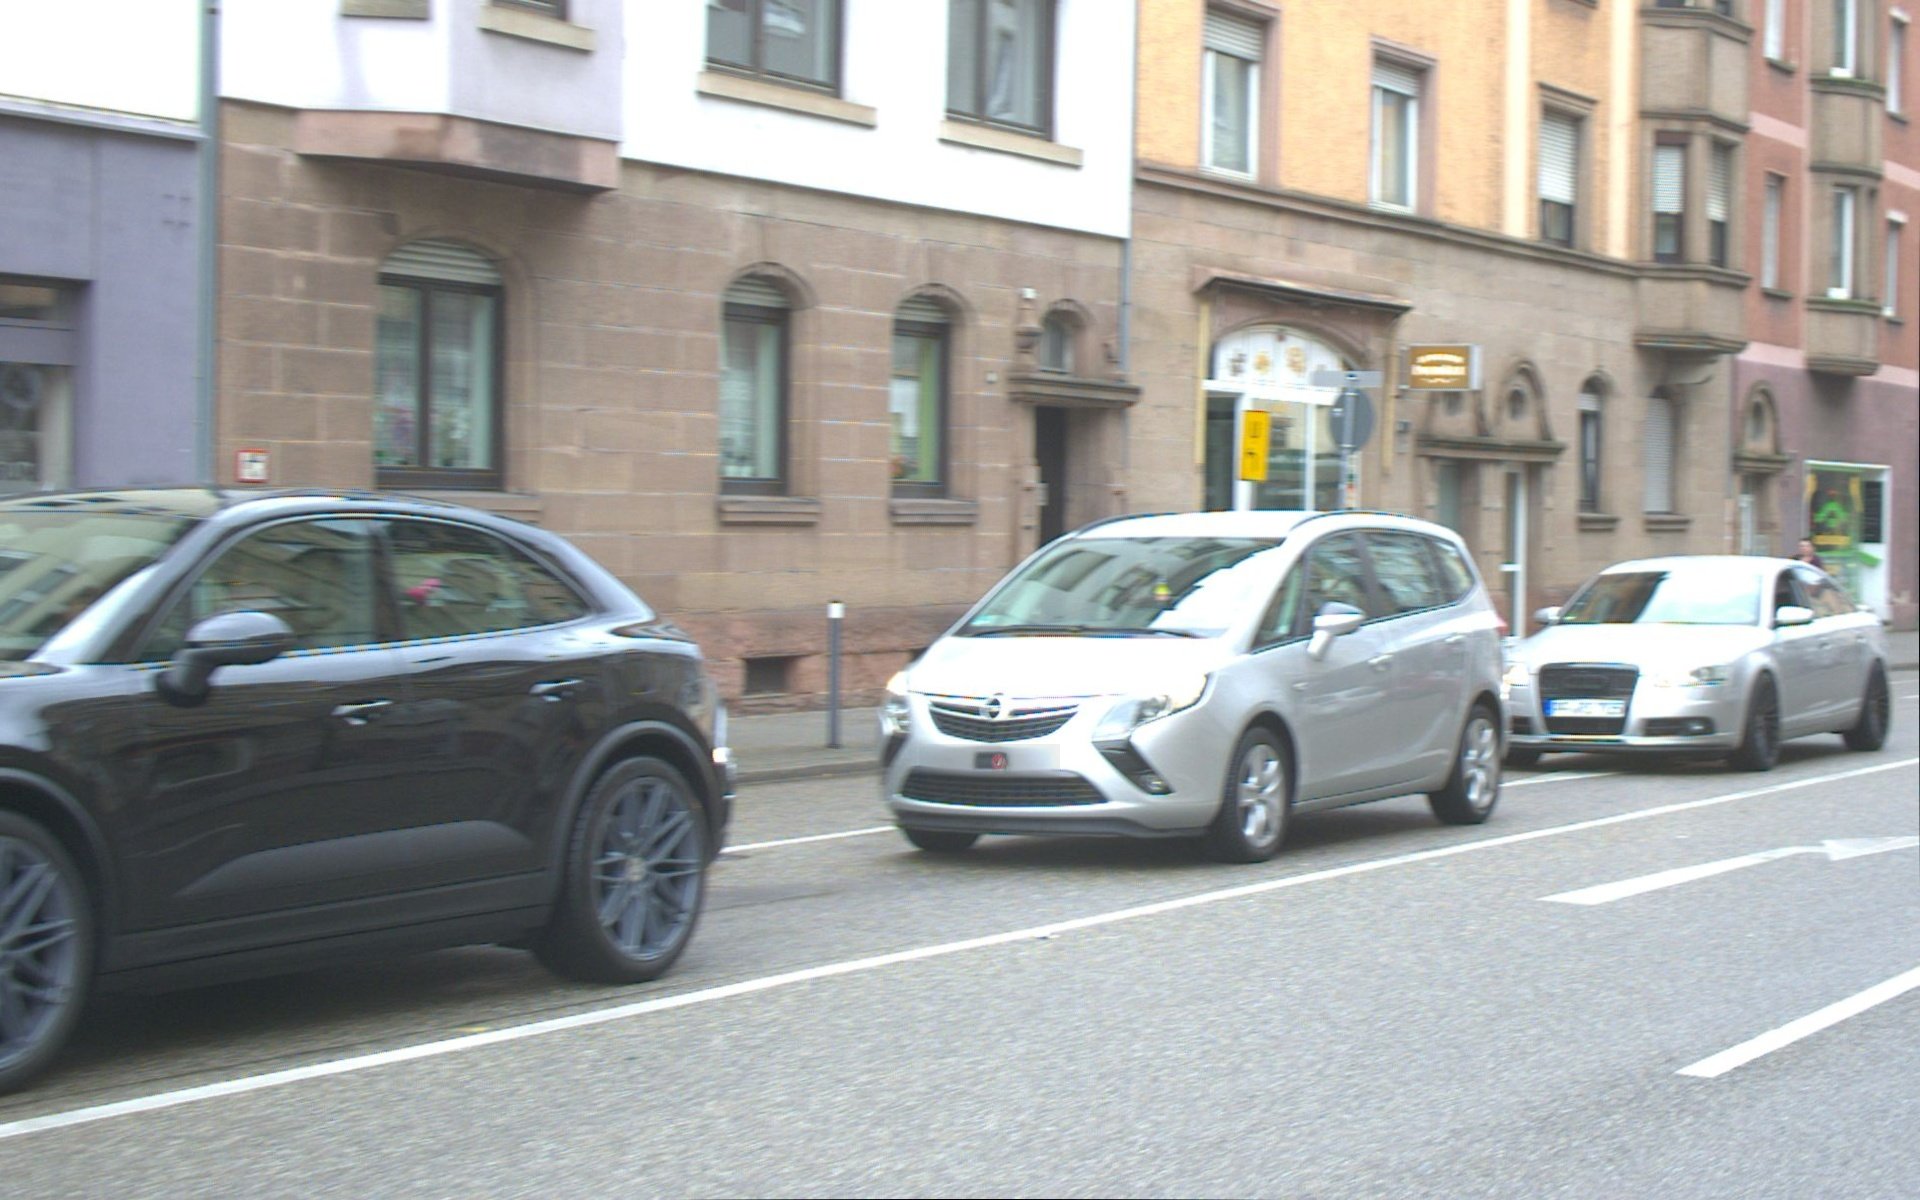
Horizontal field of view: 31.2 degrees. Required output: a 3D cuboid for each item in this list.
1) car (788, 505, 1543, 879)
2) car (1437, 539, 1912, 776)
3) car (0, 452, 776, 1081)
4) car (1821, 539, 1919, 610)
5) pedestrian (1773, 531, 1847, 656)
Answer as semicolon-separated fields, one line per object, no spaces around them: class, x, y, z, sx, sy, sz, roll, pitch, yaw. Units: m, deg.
car;1.183;0.370;17.037;1.946;1.578;4.513;1;1;29
car;5.089;0.343;23.983;1.946;1.465;4.552;1;1;29
car;-2.609;0.397;10.249;1.946;1.578;4.598;1;1;29
car;21.625;-0.557;76.120;4.628;1.527;1.906;1;1;2
pedestrian;11.784;-0.092;47.661;0.843;1.673;0.852;4;1;17
